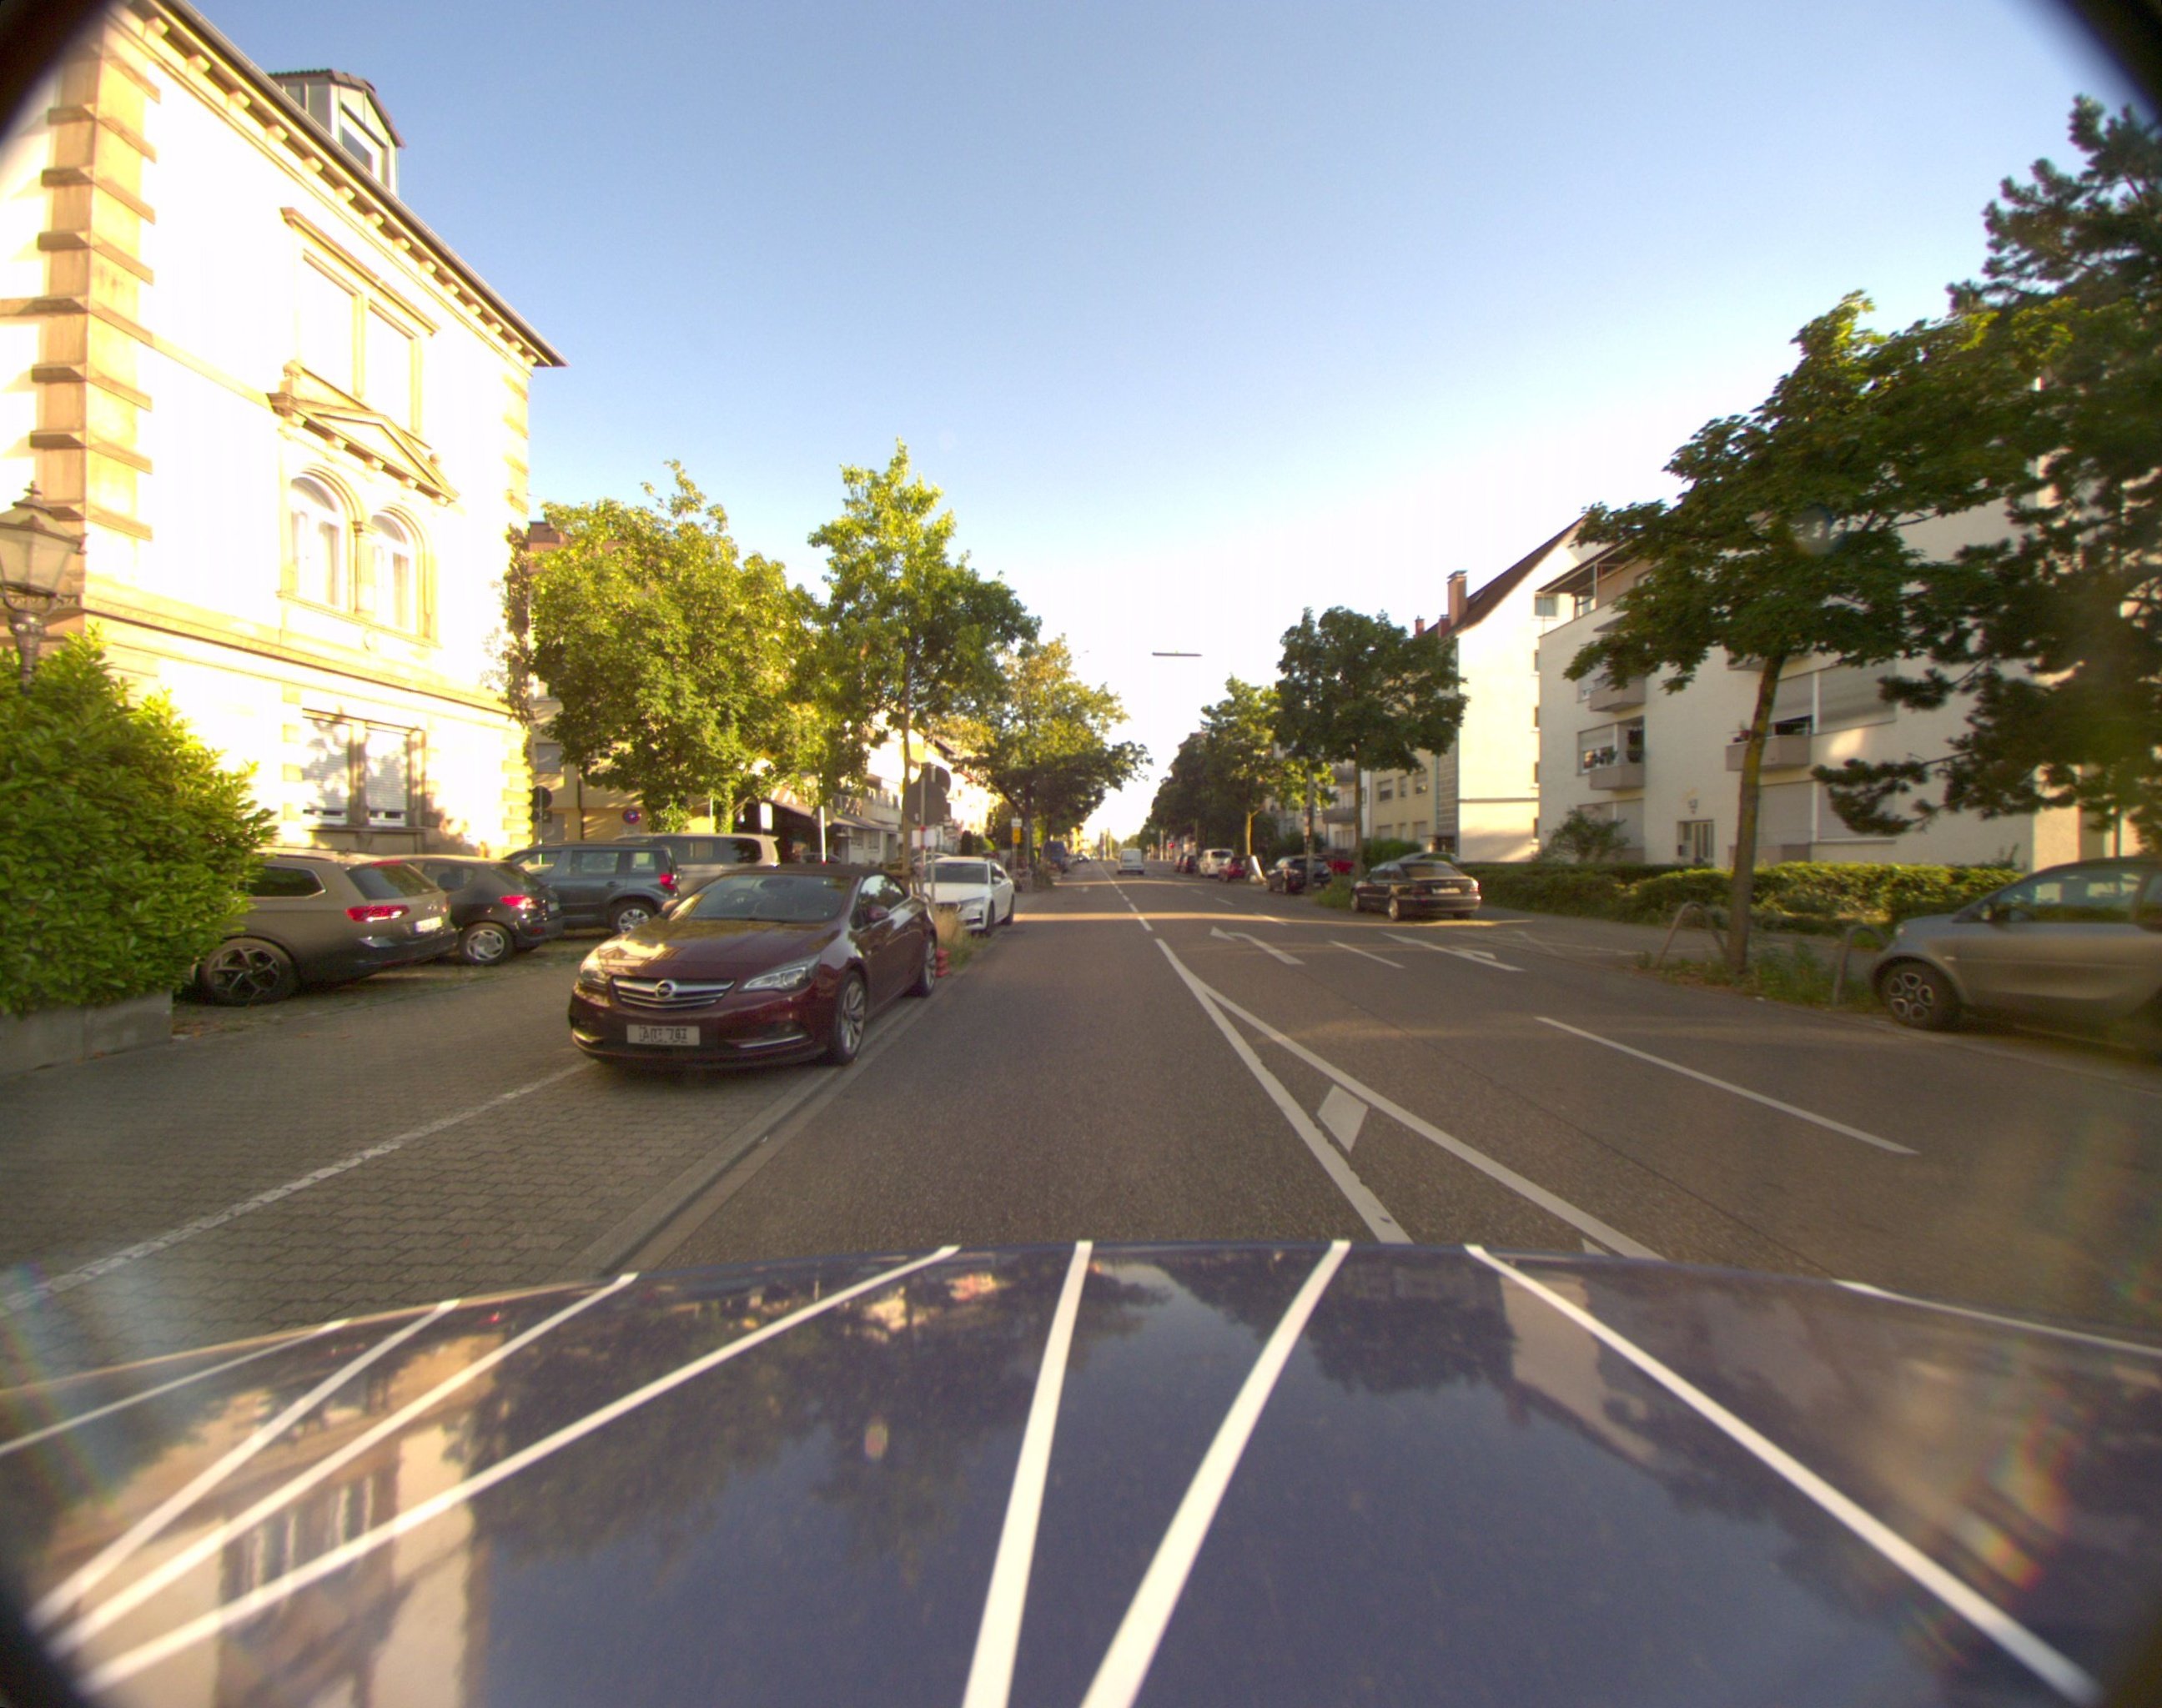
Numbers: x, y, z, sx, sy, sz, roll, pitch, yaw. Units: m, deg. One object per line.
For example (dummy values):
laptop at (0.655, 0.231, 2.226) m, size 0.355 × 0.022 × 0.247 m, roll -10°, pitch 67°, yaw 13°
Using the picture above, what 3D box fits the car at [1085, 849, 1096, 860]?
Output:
car at (1.531, 0.060, 122.510) m, size 1.596 × 1.696 × 4.000 m, roll 0°, pitch 0°, yaw 1°

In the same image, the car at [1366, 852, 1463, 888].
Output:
car at (14.415, 0.657, 32.969) m, size 3.467 × 1.515 × 1.686 m, roll 0°, pitch 0°, yaw 2°

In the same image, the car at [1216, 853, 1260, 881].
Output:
car at (8.595, 0.703, 41.937) m, size 1.740 × 1.455 × 3.636 m, roll 0°, pitch 0°, yaw 1°

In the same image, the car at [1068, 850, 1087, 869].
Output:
car at (-0.343, 0.490, 72.991) m, size 1.704 × 1.740 × 4.000 m, roll 0°, pitch 0°, yaw 2°

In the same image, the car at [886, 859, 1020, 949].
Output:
car at (-2.395, 0.878, 15.384) m, size 1.825 × 1.469 × 4.621 m, roll 0°, pitch 0°, yaw 1°

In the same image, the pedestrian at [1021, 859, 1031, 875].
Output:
pedestrian at (-3.629, 0.852, 50.017) m, size 0.553 × 1.053 × 0.532 m, roll 0°, pitch 1°, yaw 2°

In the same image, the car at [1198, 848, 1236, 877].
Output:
car at (8.710, 0.497, 48.912) m, size 1.740 × 1.799 × 4.191 m, roll 0°, pitch 0°, yaw 1°

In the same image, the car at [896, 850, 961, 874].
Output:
car at (-9.690, 0.502, 48.546) m, size 3.878 × 1.496 × 1.575 m, roll 0°, pitch 1°, yaw -4°

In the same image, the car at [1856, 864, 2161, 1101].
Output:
car at (8.042, 0.881, 5.729) m, size 1.577 × 1.546 × 2.749 m, roll 0°, pitch 0°, yaw 0°

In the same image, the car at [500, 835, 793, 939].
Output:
car at (-8.712, 0.573, 15.698) m, size 4.946 × 1.888 × 1.916 m, roll 0°, pitch 1°, yaw -28°

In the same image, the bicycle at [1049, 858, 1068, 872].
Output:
bicycle at (-1.719, 0.818, 58.032) m, size 1.469 × 1.058 × 0.445 m, roll 0°, pitch 1°, yaw 1°

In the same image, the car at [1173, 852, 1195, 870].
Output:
car at (8.661, 0.566, 64.088) m, size 1.407 × 1.456 × 3.682 m, roll -2°, pitch 1°, yaw 2°

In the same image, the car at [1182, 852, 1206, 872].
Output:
car at (8.873, 0.596, 59.989) m, size 1.407 × 1.397 × 3.682 m, roll -2°, pitch 1°, yaw 2°

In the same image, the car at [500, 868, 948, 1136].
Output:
car at (-2.518, 0.918, 6.794) m, size 1.761 × 1.412 × 4.614 m, roll 2°, pitch 0°, yaw 0°

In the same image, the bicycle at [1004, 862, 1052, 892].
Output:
bicycle at (-2.192, 0.943, 31.445) m, size 1.894 × 1.155 × 0.616 m, roll 2°, pitch 2°, yaw 28°

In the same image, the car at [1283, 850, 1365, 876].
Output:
car at (15.050, 0.550, 47.159) m, size 4.563 × 1.397 × 1.739 m, roll -2°, pitch 1°, yaw -9°

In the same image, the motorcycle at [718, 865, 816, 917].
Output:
motorcycle at (-7.951, 0.924, 19.336) m, size 2.163 × 1.232 × 0.789 m, roll 0°, pitch 1°, yaw -9°

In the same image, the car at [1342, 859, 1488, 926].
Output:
car at (7.960, 0.844, 18.588) m, size 1.641 × 1.399 × 4.444 m, roll 0°, pitch 0°, yaw 0°

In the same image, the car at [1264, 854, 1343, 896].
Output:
car at (8.452, 0.763, 29.223) m, size 1.862 × 1.477 × 3.999 m, roll 0°, pitch 0°, yaw 0°

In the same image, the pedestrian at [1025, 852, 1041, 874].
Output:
pedestrian at (-3.074, 0.577, 48.717) m, size 0.917 × 1.436 × 0.811 m, roll 0°, pitch 1°, yaw -1°

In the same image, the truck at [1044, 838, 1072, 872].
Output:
truck at (-1.820, 0.058, 61.637) m, size 1.998 × 2.629 × 5.615 m, roll 0°, pitch 0°, yaw 1°

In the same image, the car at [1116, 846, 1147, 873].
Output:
car at (3.646, 0.361, 55.306) m, size 1.893 × 1.793 × 4.430 m, roll 2°, pitch 0°, yaw -1°

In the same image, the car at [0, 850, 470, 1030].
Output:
car at (-9.007, 0.765, 7.495) m, size 4.255 × 1.502 × 1.789 m, roll 2°, pitch 0°, yaw -17°

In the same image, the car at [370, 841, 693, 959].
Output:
car at (-8.788, 0.671, 12.628) m, size 4.106 × 1.690 × 1.783 m, roll 0°, pitch 1°, yaw -29°

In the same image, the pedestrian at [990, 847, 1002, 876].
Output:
pedestrian at (-5.171, 0.458, 46.138) m, size 0.619 × 1.761 × 0.562 m, roll 0°, pitch 0°, yaw 2°

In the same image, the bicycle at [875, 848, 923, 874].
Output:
bicycle at (-10.164, 0.397, 42.411) m, size 2.459 × 1.433 × 0.928 m, roll 0°, pitch 1°, yaw -1°

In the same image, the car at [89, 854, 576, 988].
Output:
car at (-9.148, 0.778, 9.795) m, size 4.105 × 1.432 × 1.713 m, roll 2°, pitch 0°, yaw -22°
